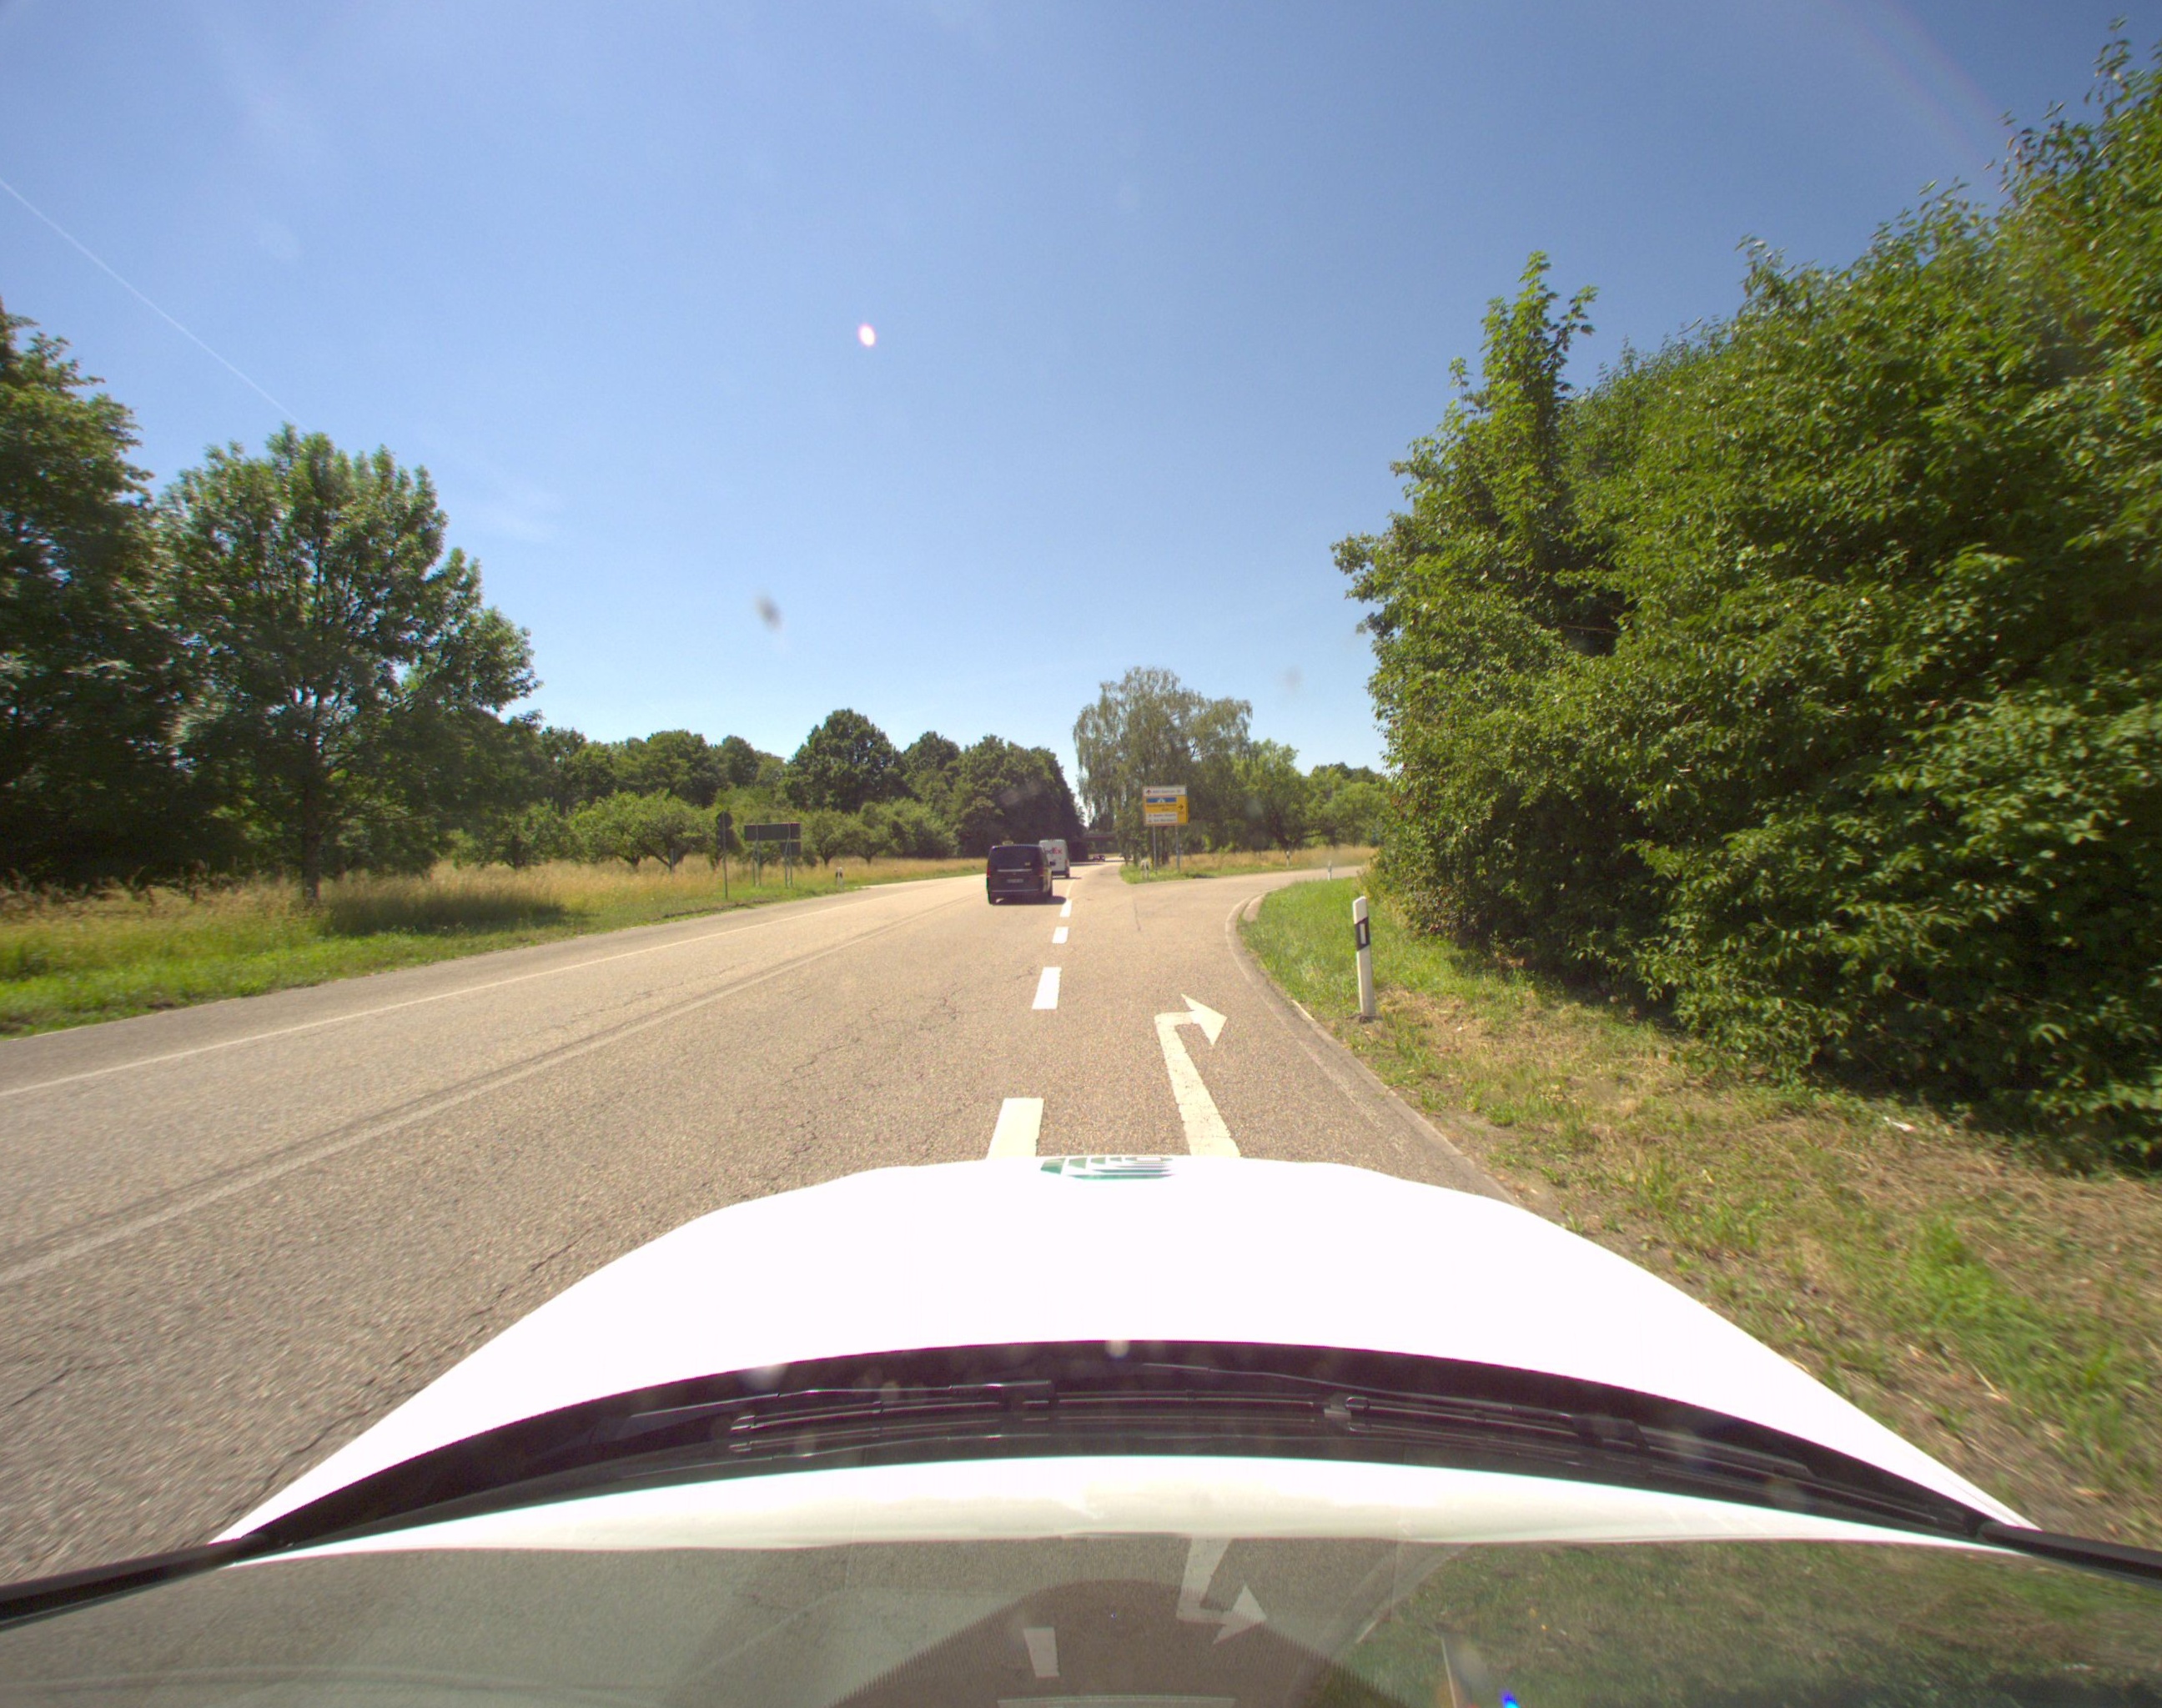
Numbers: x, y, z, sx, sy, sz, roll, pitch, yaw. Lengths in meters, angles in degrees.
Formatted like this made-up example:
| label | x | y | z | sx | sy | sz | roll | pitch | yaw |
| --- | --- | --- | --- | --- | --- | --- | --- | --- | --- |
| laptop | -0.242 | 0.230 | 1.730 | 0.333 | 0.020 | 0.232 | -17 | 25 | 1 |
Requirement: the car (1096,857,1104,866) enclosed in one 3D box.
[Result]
| label | x | y | z | sx | sy | sz | roll | pitch | yaw |
| --- | --- | --- | --- | --- | --- | --- | --- | --- | --- |
| car | 4.837 | 1.875 | 205.190 | 1.987 | 2.013 | 4.000 | 1 | 0 | 0 |

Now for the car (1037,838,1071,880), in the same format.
| label | x | y | z | sx | sy | sz | roll | pitch | yaw |
| --- | --- | --- | --- | --- | --- | --- | --- | --- | --- |
| car | -1.741 | 0.361 | 54.749 | 2.071 | 2.702 | 4.666 | 0 | 0 | 1 |

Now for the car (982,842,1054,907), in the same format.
| label | x | y | z | sx | sy | sz | roll | pitch | yaw |
| --- | --- | --- | --- | --- | --- | --- | --- | --- | --- |
| car | -1.982 | 0.630 | 27.199 | 1.987 | 1.952 | 5.004 | 0 | 0 | 0 |

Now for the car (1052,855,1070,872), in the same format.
| label | x | y | z | sx | sy | sz | roll | pitch | yaw |
| --- | --- | --- | --- | --- | --- | --- | --- | --- | --- |
| car | -2.454 | 1.172 | 102.699 | 1.985 | 2.013 | 4.002 | 1 | 0 | 2 |
